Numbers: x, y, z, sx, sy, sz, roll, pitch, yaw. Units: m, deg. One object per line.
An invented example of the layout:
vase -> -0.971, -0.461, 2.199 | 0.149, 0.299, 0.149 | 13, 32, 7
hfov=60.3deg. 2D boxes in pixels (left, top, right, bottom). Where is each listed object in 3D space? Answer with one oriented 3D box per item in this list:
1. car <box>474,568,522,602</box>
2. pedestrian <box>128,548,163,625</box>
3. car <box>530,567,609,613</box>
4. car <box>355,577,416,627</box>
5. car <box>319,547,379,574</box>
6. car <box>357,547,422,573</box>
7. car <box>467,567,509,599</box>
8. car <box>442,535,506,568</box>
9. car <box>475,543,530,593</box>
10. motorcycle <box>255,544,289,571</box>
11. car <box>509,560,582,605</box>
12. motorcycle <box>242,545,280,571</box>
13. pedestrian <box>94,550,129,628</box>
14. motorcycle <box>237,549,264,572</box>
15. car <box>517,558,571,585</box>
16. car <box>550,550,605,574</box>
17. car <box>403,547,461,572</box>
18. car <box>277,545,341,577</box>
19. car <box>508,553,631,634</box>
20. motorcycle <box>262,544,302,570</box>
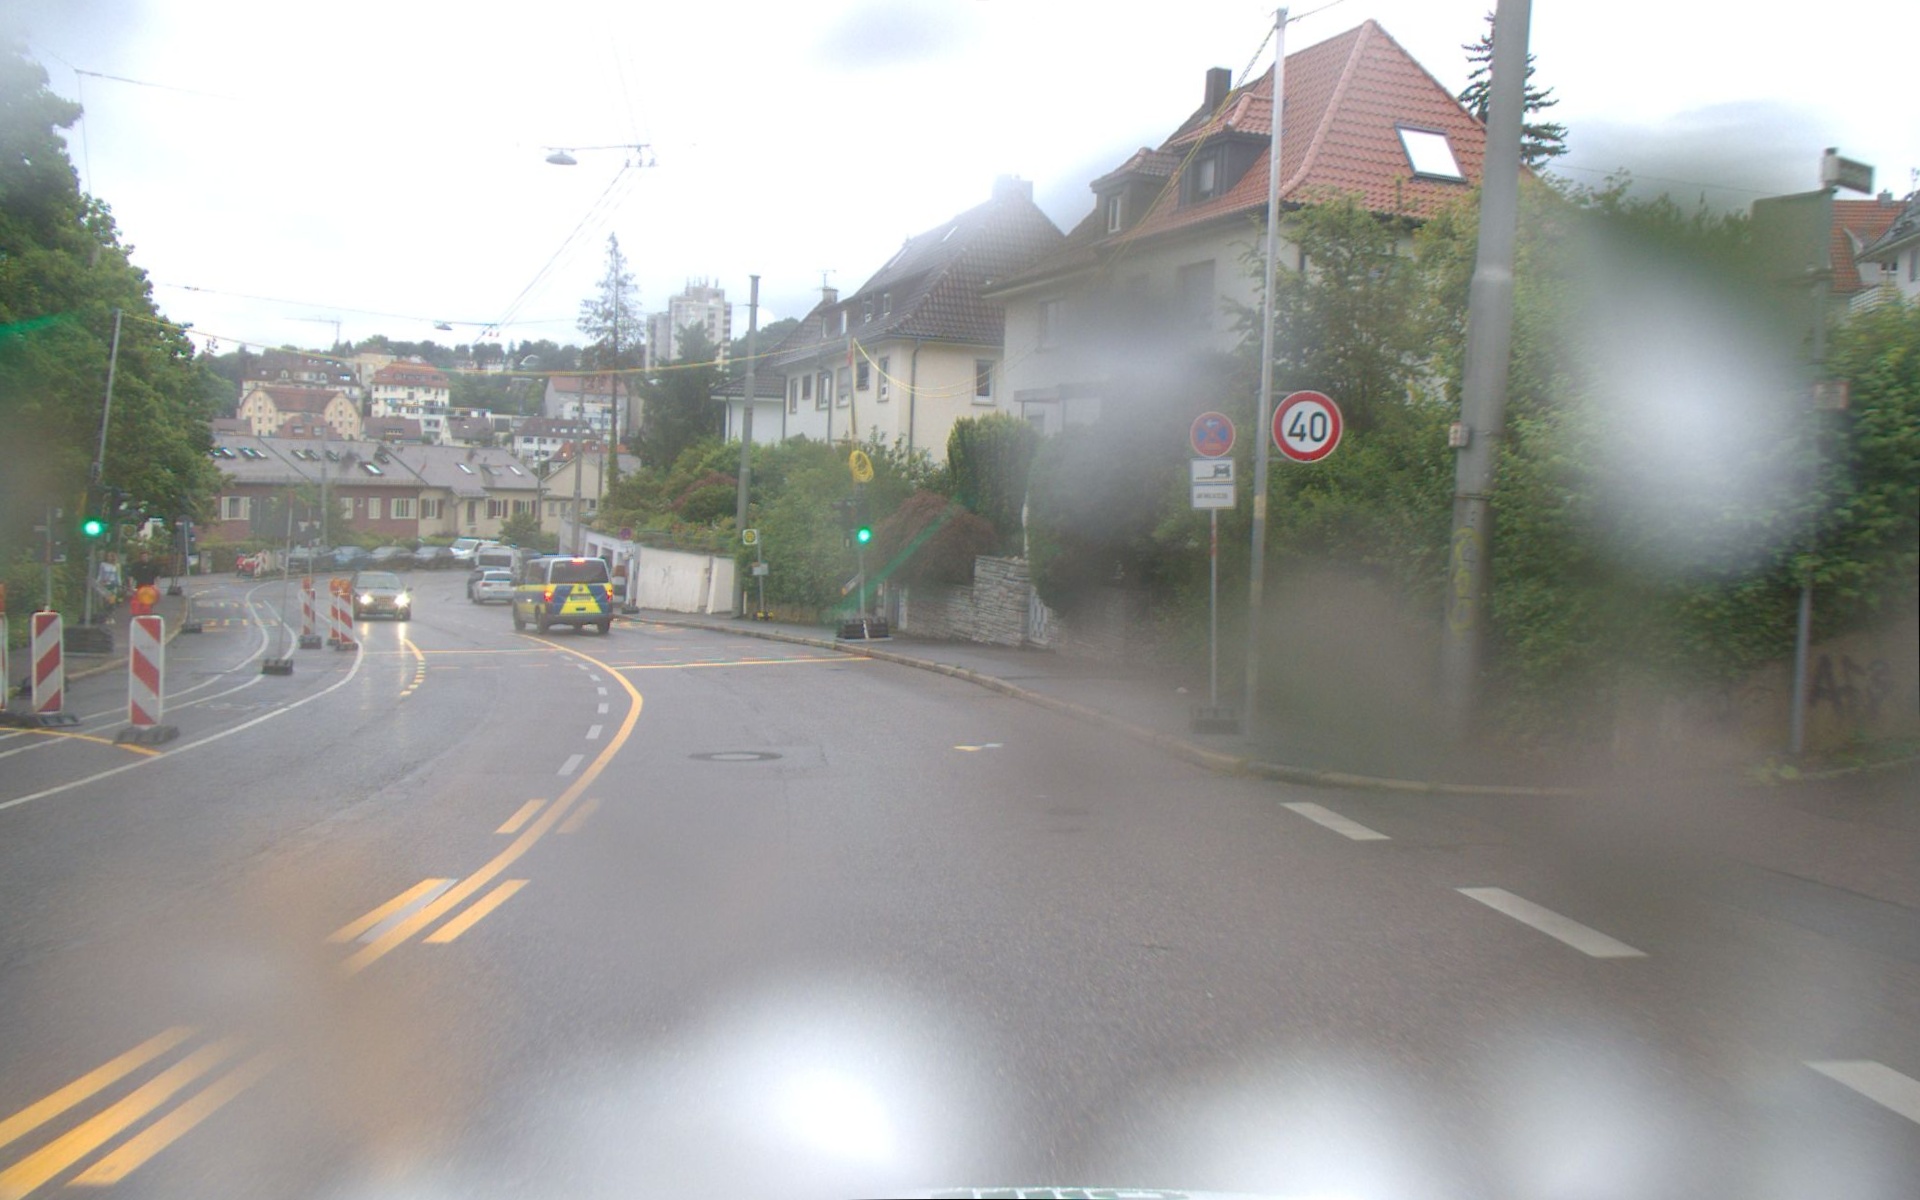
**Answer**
car -> -20.359, -0.668, 72.801 | 1.681, 1.439, 4.016 | 0, 1, -21
pedestrian -> -20.138, -0.349, 40.894 | 0.698, 1.848, 1.138 | 1, 1, -25
car -> -13.090, -0.359, 55.245 | 1.758, 1.445, 4.396 | -1, 1, -25
car -> -18.397, 0.038, 52.900 | 1.675, 1.486, 4.654 | -1, 1, -21
car -> -37.072, -2.442, 100.488 | 1.664, 1.428, 4.476 | 5, 3, 3
car -> -36.482, -2.579, 105.905 | 1.770, 1.502, 4.526 | 5, 2, 13
car -> -23.992, -0.890, 84.109 | 1.722, 1.521, 4.172 | 1, 2, -12
car -> -34.384, -3.405, 117.148 | 1.810, 2.114, 5.024 | 5, 2, 16
car -> -24.785, -1.755, 89.788 | 2.059, 2.586, 5.611 | 1, 1, -7
motorcycle -> -37.208, -2.312, 89.397 | 1.767, 1.325, 0.613 | 6, 2, 25
car -> -15.013, -0.652, 59.770 | 1.694, 1.539, 3.964 | 0, 1, -28
motorcycle -> -37.343, -2.242, 88.392 | 1.766, 1.301, 0.511 | 3, 2, -3
pedestrian -> -20.793, -0.275, 40.528 | 0.672, 1.848, 1.146 | 1, 1, -25
motorcycle -> -37.185, -2.082, 86.709 | 0.499, 1.159, 1.924 | 1, 2, 4
car -> -26.188, -1.808, 104.315 | 1.643, 1.509, 4.205 | 4, 2, 10
car -> -30.148, -3.010, 130.382 | 1.890, 1.659, 4.678 | 5, 2, 20
car -> -35.542, -2.735, 111.434 | 1.770, 1.502, 4.527 | 5, 2, 10
car -> -37.366, -2.266, 95.064 | 1.883, 1.603, 4.388 | 5, 2, -1
car -> -10.441, -0.224, 44.010 | 2.281, 1.973, 4.289 | -2, 2, -26
motorcycle -> -37.282, -2.386, 90.977 | 1.884, 1.293, 0.569 | 3, 2, -35
